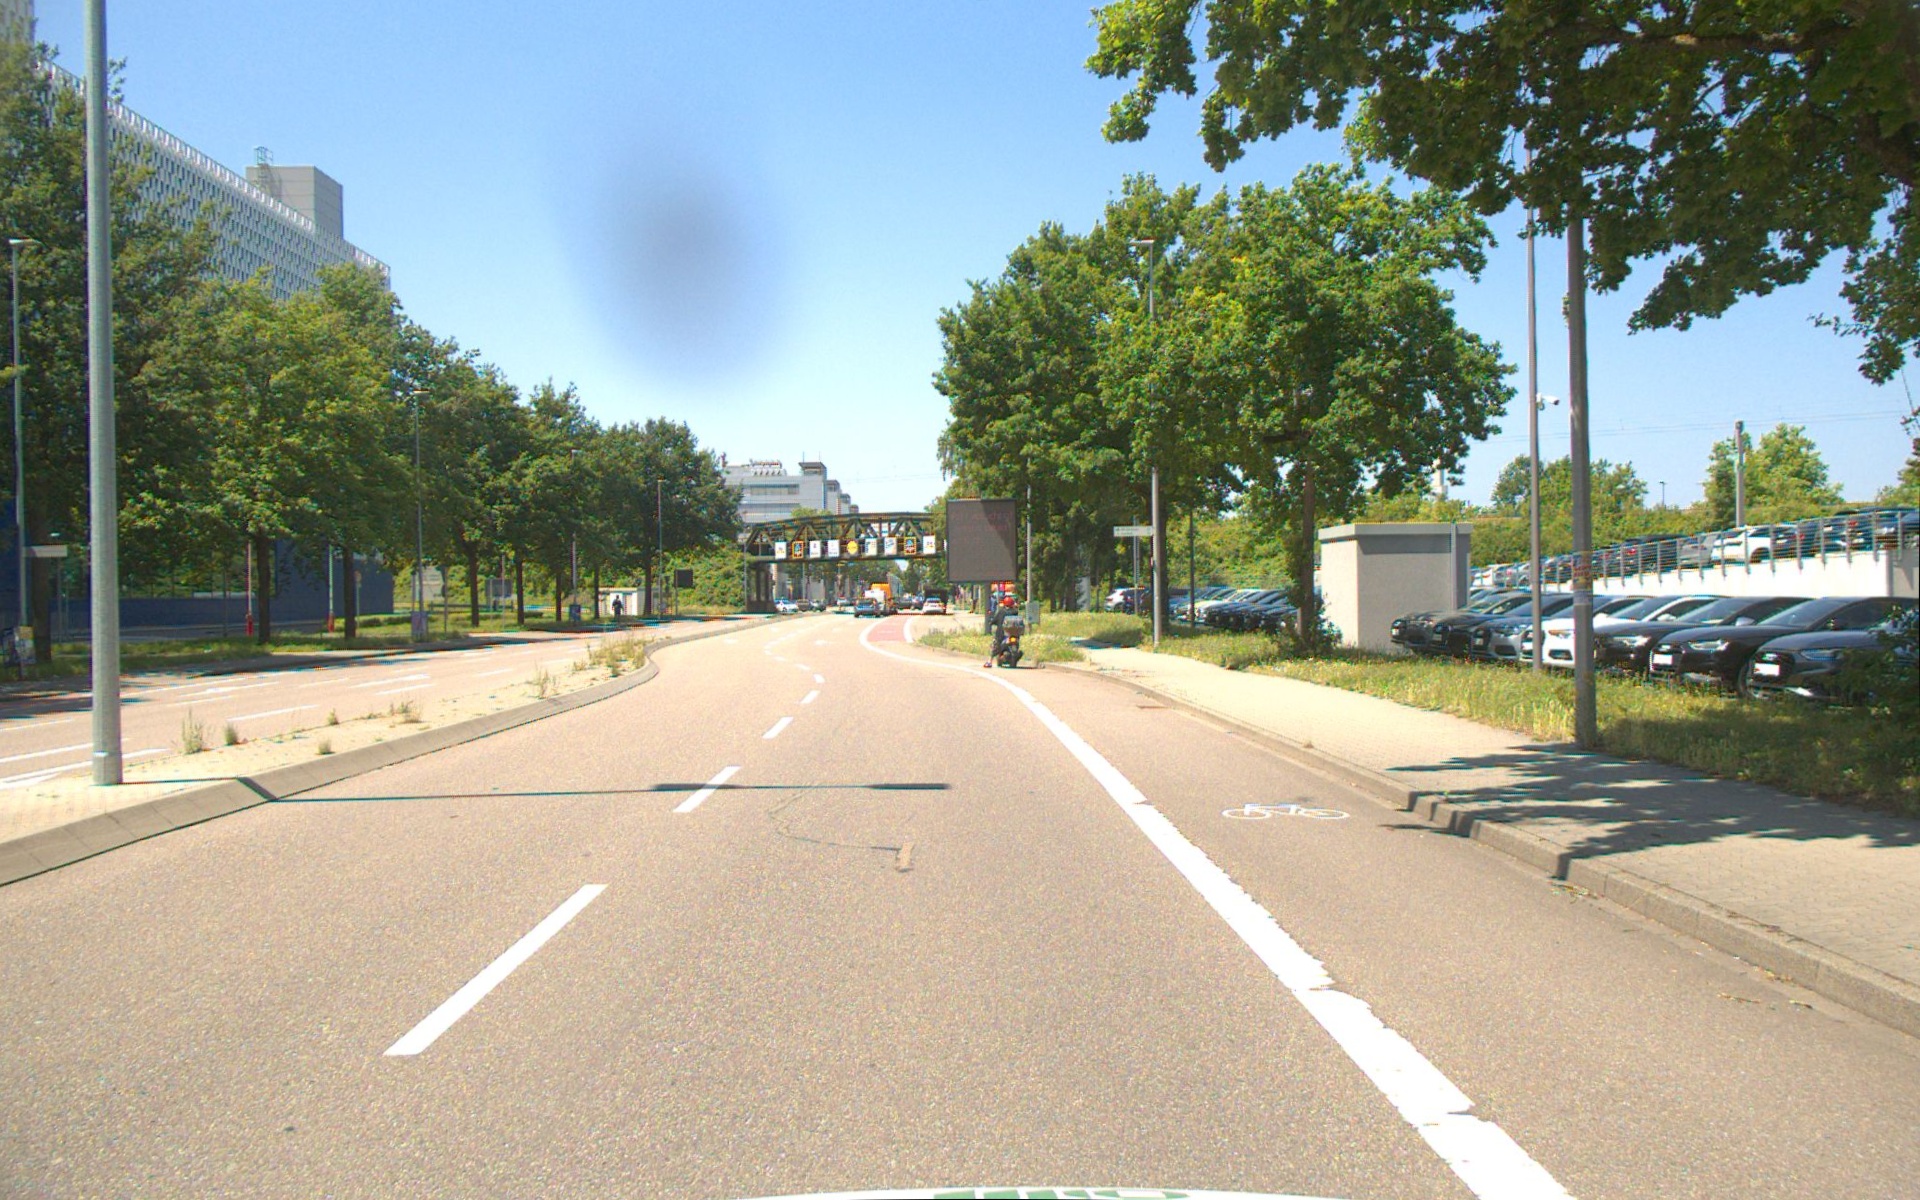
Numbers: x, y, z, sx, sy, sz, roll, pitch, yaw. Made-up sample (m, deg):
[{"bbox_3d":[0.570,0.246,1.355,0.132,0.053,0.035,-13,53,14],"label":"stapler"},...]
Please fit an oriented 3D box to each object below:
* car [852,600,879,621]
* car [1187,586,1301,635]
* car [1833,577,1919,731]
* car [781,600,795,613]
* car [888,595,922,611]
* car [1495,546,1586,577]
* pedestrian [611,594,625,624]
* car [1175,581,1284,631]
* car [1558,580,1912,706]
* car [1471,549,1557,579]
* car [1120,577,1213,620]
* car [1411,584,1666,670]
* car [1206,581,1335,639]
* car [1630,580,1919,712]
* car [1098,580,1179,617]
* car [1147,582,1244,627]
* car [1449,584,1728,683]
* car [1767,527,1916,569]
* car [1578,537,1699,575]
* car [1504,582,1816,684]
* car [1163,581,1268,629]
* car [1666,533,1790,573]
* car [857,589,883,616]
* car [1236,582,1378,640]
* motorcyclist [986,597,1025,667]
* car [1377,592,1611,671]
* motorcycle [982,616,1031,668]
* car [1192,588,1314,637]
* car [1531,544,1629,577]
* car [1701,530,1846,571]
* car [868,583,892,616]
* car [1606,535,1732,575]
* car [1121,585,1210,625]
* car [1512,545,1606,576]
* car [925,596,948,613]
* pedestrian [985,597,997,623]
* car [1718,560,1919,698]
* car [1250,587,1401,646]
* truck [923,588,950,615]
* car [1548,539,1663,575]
[{"bbox_3d":[-6.853,0.751,120.620,1.862,1.400,4.230,-1,0,-2],"label":"car"},{"bbox_3d":[10.630,0.383,62.059,3.787,1.529,1.795,4,0,-6],"label":"car"},{"bbox_3d":[11.016,0.609,15.958,4.136,1.431,1.917,3,0,-2],"label":"car"},{"bbox_3d":[-23.022,0.859,221.548,1.681,1.763,3.804,-1,0,-4],"label":"car"},{"bbox_3d":[-6.604,0.344,199.024,3.903,1.780,1.893,-1,0,4],"label":"car"},{"bbox_3d":[25.741,-1.686,73.387,3.453,1.261,1.540,1,0,-4],"label":"car"},{"bbox_3d":[-22.155,0.590,107.191,0.728,1.917,0.577,-1,0,-1],"label":"pedestrian"},{"bbox_3d":[10.515,0.225,64.697,3.787,1.632,1.795,4,0,-6],"label":"car"},{"bbox_3d":[11.048,0.595,23.779,4.136,1.409,1.917,4,0,-2],"label":"car"},{"bbox_3d":[25.551,-1.644,76.353,3.453,1.261,1.541,1,0,-2],"label":"car"},{"bbox_3d":[9.333,-0.049,74.741,3.787,1.632,1.795,4,0,-6],"label":"car"},{"bbox_3d":[10.945,0.498,31.492,4.136,1.365,1.917,3,0,-2],"label":"car"},{"bbox_3d":[10.574,0.336,56.488,3.911,1.652,1.795,4,0,-6],"label":"car"},{"bbox_3d":[10.982,0.606,21.136,4.047,1.404,1.778,4,0,-2],"label":"car"},{"bbox_3d":[9.222,-0.075,85.606,3.787,1.632,1.795,4,0,-6],"label":"car"},{"bbox_3d":[10.164,0.198,71.507,3.787,1.632,1.795,4,0,-6],"label":"car"},{"bbox_3d":[10.988,0.568,29.113,4.136,1.477,1.917,3,0,-2],"label":"car"},{"bbox_3d":[26.563,-1.558,49.894,3.652,1.150,1.682,1,0,-6],"label":"car"},{"bbox_3d":[26.062,-1.693,63.562,3.910,1.334,1.795,-1,0,-6],"label":"car"},{"bbox_3d":[11.100,0.507,26.438,4.136,1.365,1.917,3,0,-2],"label":"car"},{"bbox_3d":[10.346,0.212,67.014,3.787,1.632,1.795,4,0,-6],"label":"car"},{"bbox_3d":[26.010,-1.581,56.062,3.455,1.261,1.675,1,0,-6],"label":"car"},{"bbox_3d":[-7.061,0.168,129.897,1.953,2.049,3.998,1,0,-2],"label":"car"},{"bbox_3d":[10.779,0.342,51.480,3.911,1.465,1.795,4,0,-6],"label":"car"},{"bbox_3d":[1.025,0.712,37.244,0.706,1.556,0.868,1,0,-11],"label":"motorcyclist"},{"bbox_3d":[10.924,0.629,34.026,4.136,1.365,1.917,3,0,-2],"label":"car"},{"bbox_3d":[1.035,0.937,37.170,0.703,1.124,1.825,1,0,-11],"label":"motorcycle"},{"bbox_3d":[10.480,0.447,59.377,3.911,1.447,1.795,4,0,-6],"label":"car"},{"bbox_3d":[25.862,-1.634,69.020,3.453,1.261,1.609,1,0,-4],"label":"car"},{"bbox_3d":[26.130,-1.583,53.190,3.863,1.232,1.715,0,0,-6],"label":"car"},{"bbox_3d":[-7.113,-0.043,147.713,2.031,2.904,6.762,-1,0,-2],"label":"car"},{"bbox_3d":[26.066,-1.643,60.857,3.910,1.334,1.795,1,0,-6],"label":"car"},{"bbox_3d":[9.623,0.249,77.558,3.787,1.632,1.795,3,0,-6],"label":"car"},{"bbox_3d":[25.872,-1.692,71.493,3.453,1.261,1.609,1,0,-4],"label":"car"},{"bbox_3d":[-2.069,0.378,143.805,1.885,1.445,3.998,0,0,-2],"label":"car"},{"bbox_3d":[1.617,0.519,86.801,0.611,1.398,0.564,-1,0,-3],"label":"pedestrian"},{"bbox_3d":[11.014,0.387,18.478,4.136,1.393,1.988,3,0,-2],"label":"car"},{"bbox_3d":[10.722,0.481,48.690,3.911,1.401,1.795,4,0,-6],"label":"car"},{"bbox_3d":[-2.260,0.119,156.791,2.409,2.452,7.132,1,0,-1],"label":"truck"},{"bbox_3d":[25.820,-1.705,66.259,3.910,1.334,1.795,-1,0,-6],"label":"car"}]
